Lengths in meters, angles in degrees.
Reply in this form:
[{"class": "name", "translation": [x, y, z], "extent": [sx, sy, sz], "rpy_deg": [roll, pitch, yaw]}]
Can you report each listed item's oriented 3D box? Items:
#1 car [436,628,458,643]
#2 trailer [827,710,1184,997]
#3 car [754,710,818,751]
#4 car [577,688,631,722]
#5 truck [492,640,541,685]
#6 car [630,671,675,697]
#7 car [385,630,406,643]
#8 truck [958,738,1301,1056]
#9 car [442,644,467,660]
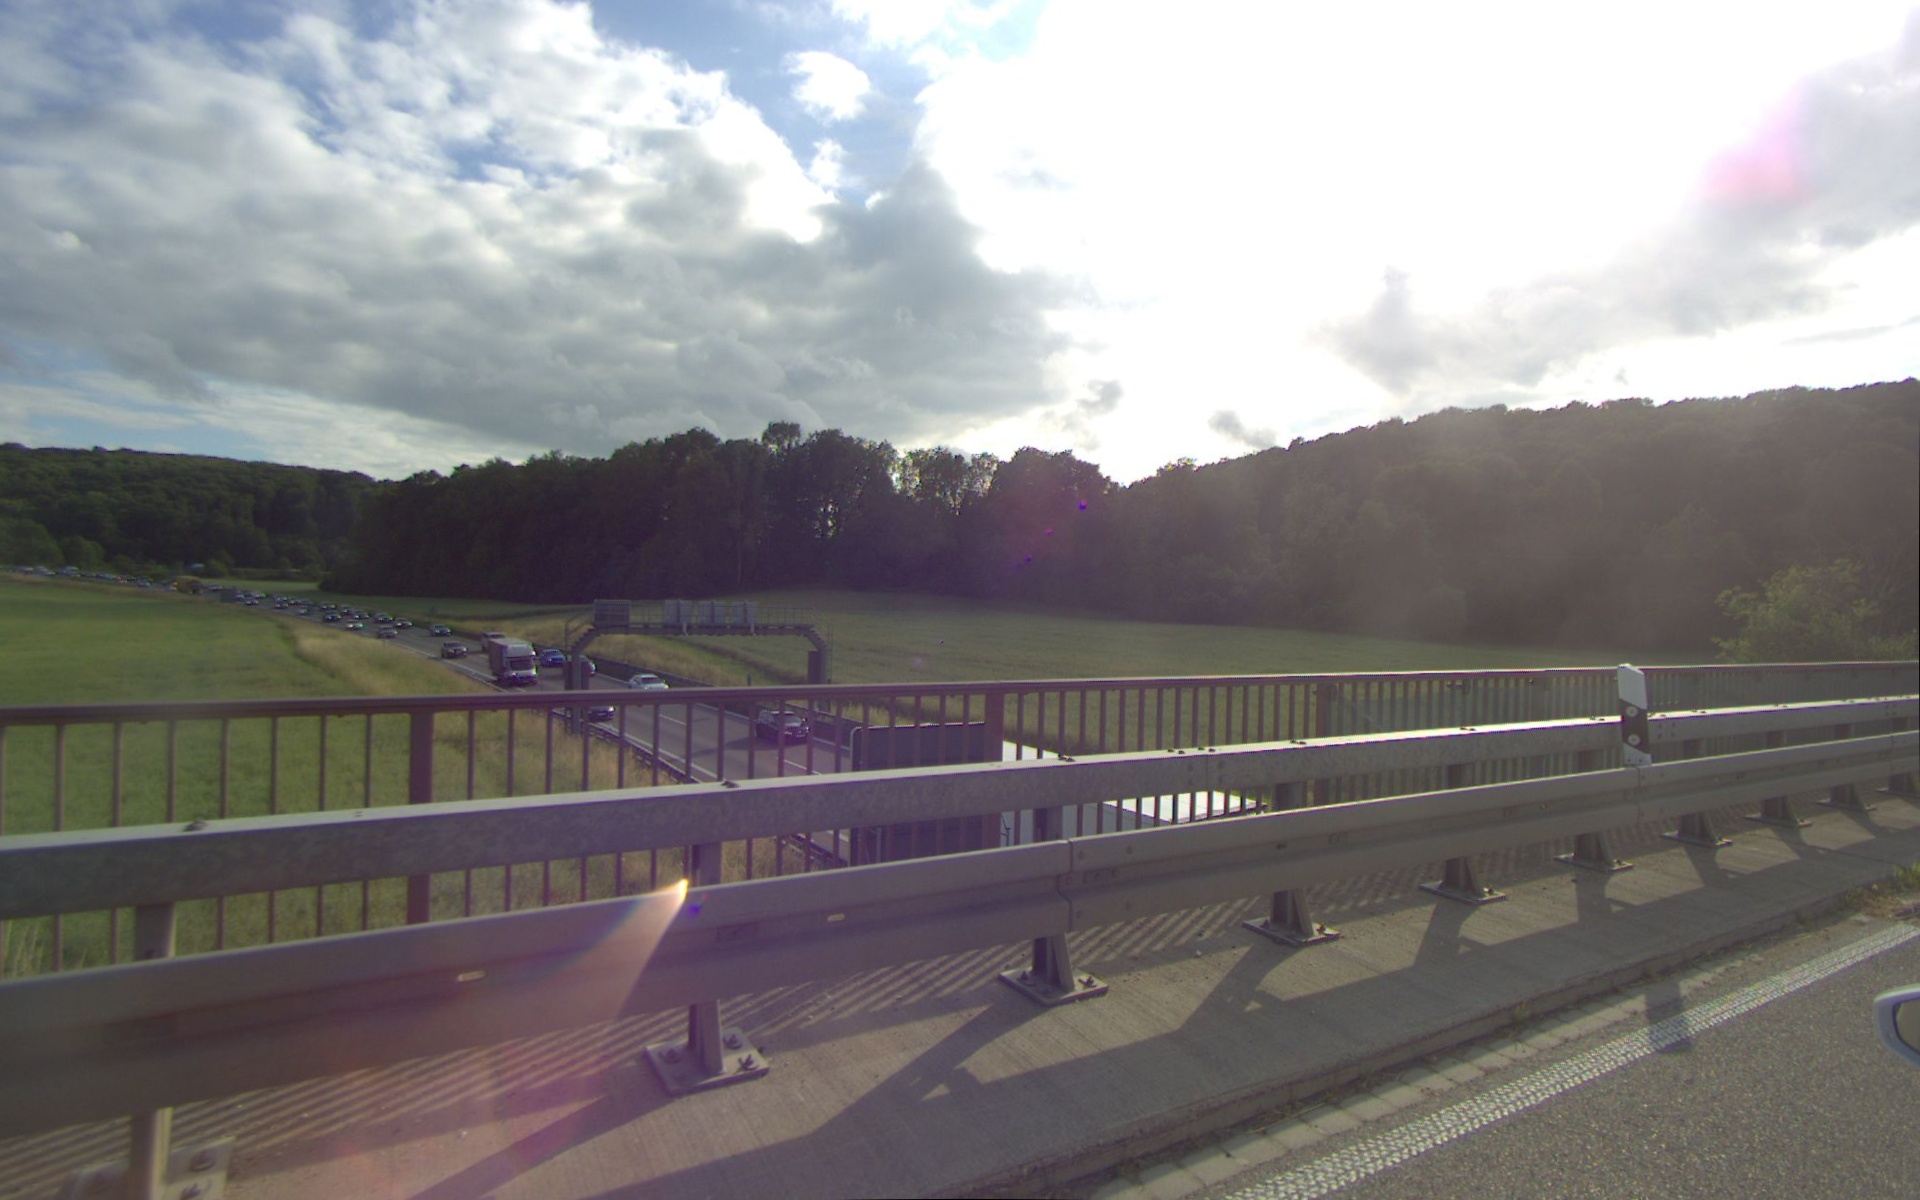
[{"class": "car", "translation": [-67.494, 4.667, 132.164], "extent": [1.787, 1.608, 3.956], "rpy_deg": [4, 0, -37]}, {"class": "trailer", "translation": [0.434, 5.954, 27.098], "extent": [2.998, 4.528, 12.615], "rpy_deg": [-1, 1, -32]}, {"class": "car", "translation": [-9.126, 6.769, 52.394], "extent": [1.806, 1.555, 3.962], "rpy_deg": [3, -1, -34]}, {"class": "car", "translation": [-21.329, 6.264, 60.143], "extent": [1.971, 1.736, 3.960], "rpy_deg": [4, -3, -36]}, {"class": "truck", "translation": [-35.812, 4.940, 80.932], "extent": [2.102, 3.450, 8.417], "rpy_deg": [2, -3, -34]}, {"class": "car", "translation": [-21.571, 5.868, 70.352], "extent": [1.811, 1.671, 3.961], "rpy_deg": [3, -3, -35]}, {"class": "car", "translation": [-73.200, 4.767, 130.204], "extent": [1.812, 1.462, 3.958], "rpy_deg": [3, 0, -37]}, {"class": "truck", "translation": [3.341, 5.949, 22.375], "extent": [2.996, 4.528, 7.985], "rpy_deg": [-1, 1, -32]}, {"class": "car", "translation": [-51.782, 5.338, 102.845], "extent": [1.699, 1.350, 3.961], "rpy_deg": [3, 0, -35]}]
